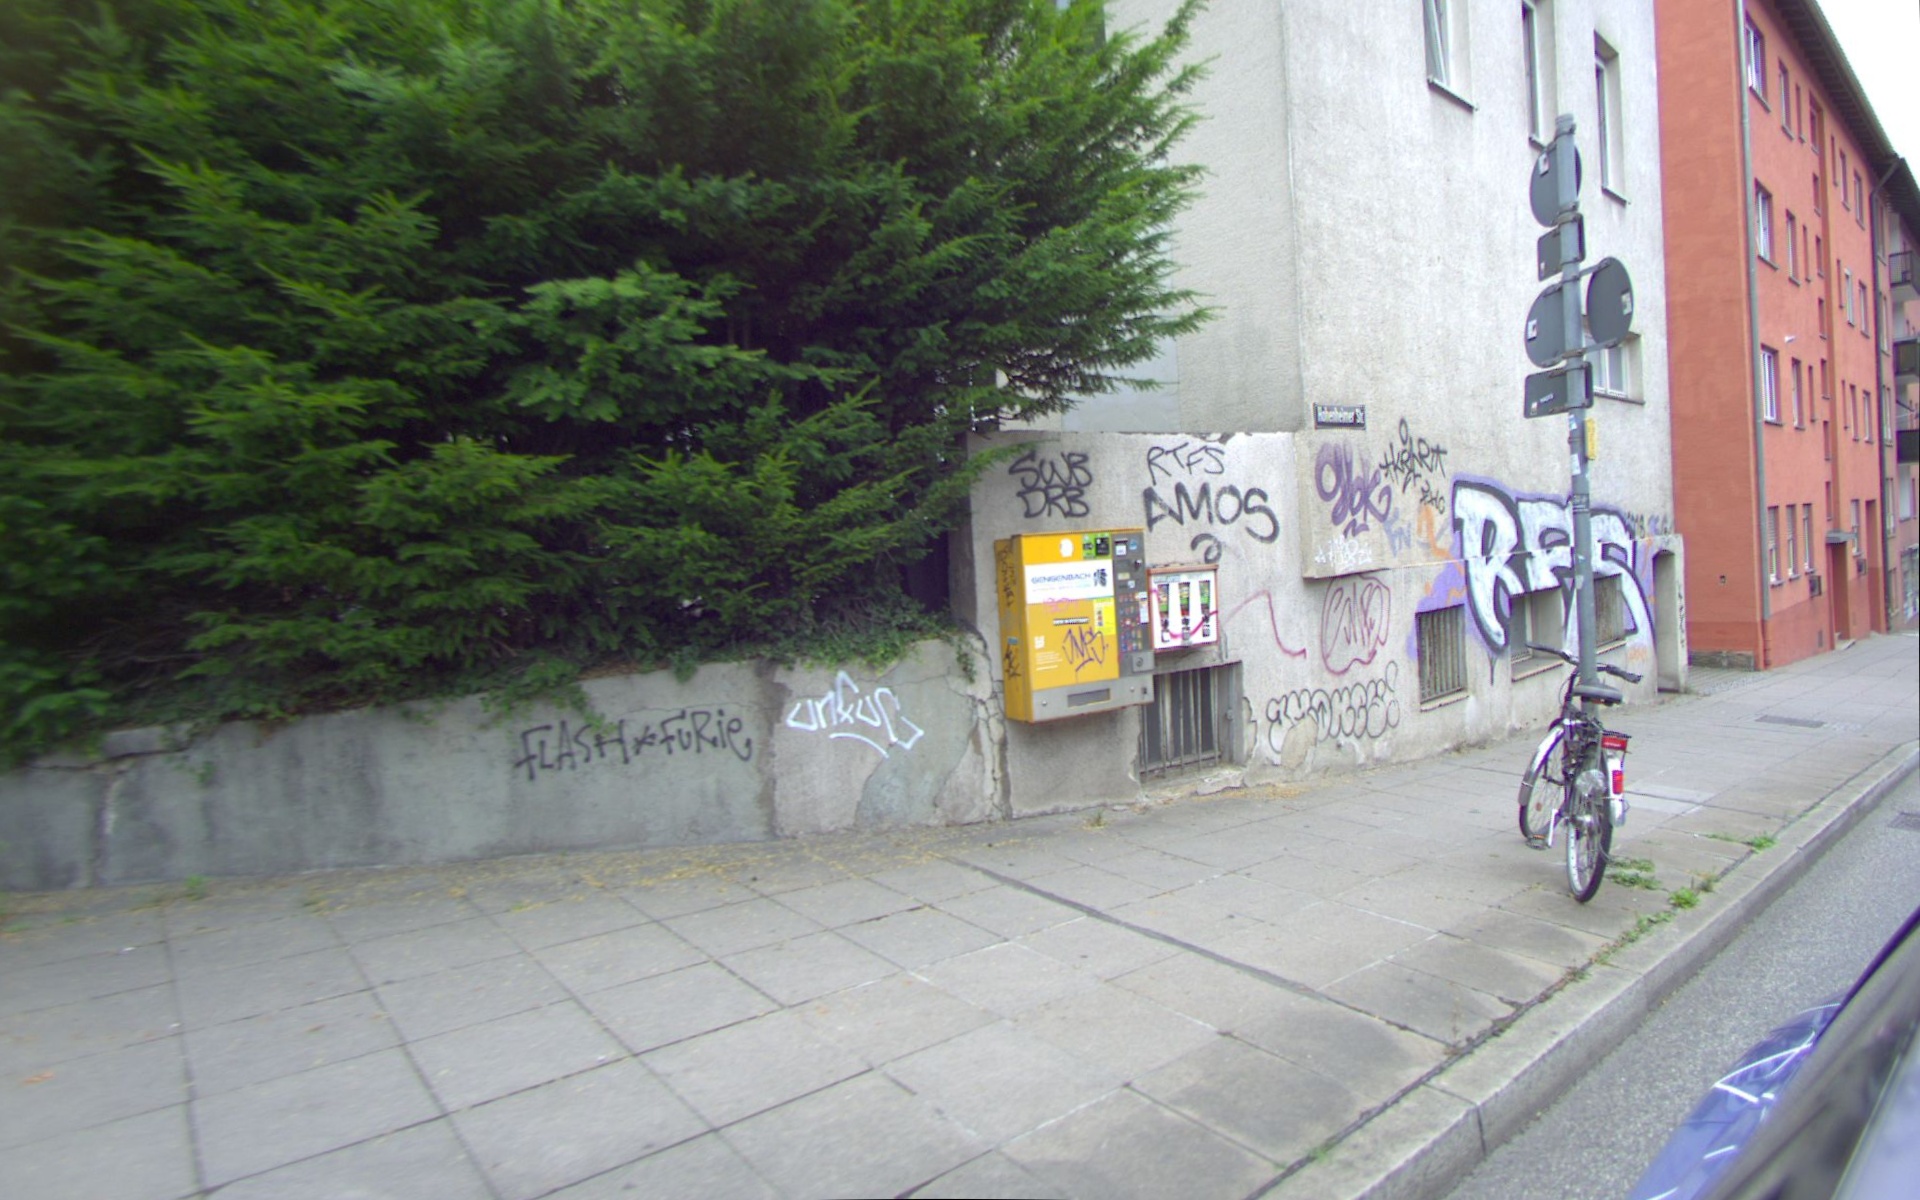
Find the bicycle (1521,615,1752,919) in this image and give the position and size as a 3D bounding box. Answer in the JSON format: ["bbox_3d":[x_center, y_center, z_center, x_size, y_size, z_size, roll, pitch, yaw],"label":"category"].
[{"bbox_3d":[3.334,0.693,5.171,0.634,1.157,2.048,0,1,24],"label":"bicycle"}]
